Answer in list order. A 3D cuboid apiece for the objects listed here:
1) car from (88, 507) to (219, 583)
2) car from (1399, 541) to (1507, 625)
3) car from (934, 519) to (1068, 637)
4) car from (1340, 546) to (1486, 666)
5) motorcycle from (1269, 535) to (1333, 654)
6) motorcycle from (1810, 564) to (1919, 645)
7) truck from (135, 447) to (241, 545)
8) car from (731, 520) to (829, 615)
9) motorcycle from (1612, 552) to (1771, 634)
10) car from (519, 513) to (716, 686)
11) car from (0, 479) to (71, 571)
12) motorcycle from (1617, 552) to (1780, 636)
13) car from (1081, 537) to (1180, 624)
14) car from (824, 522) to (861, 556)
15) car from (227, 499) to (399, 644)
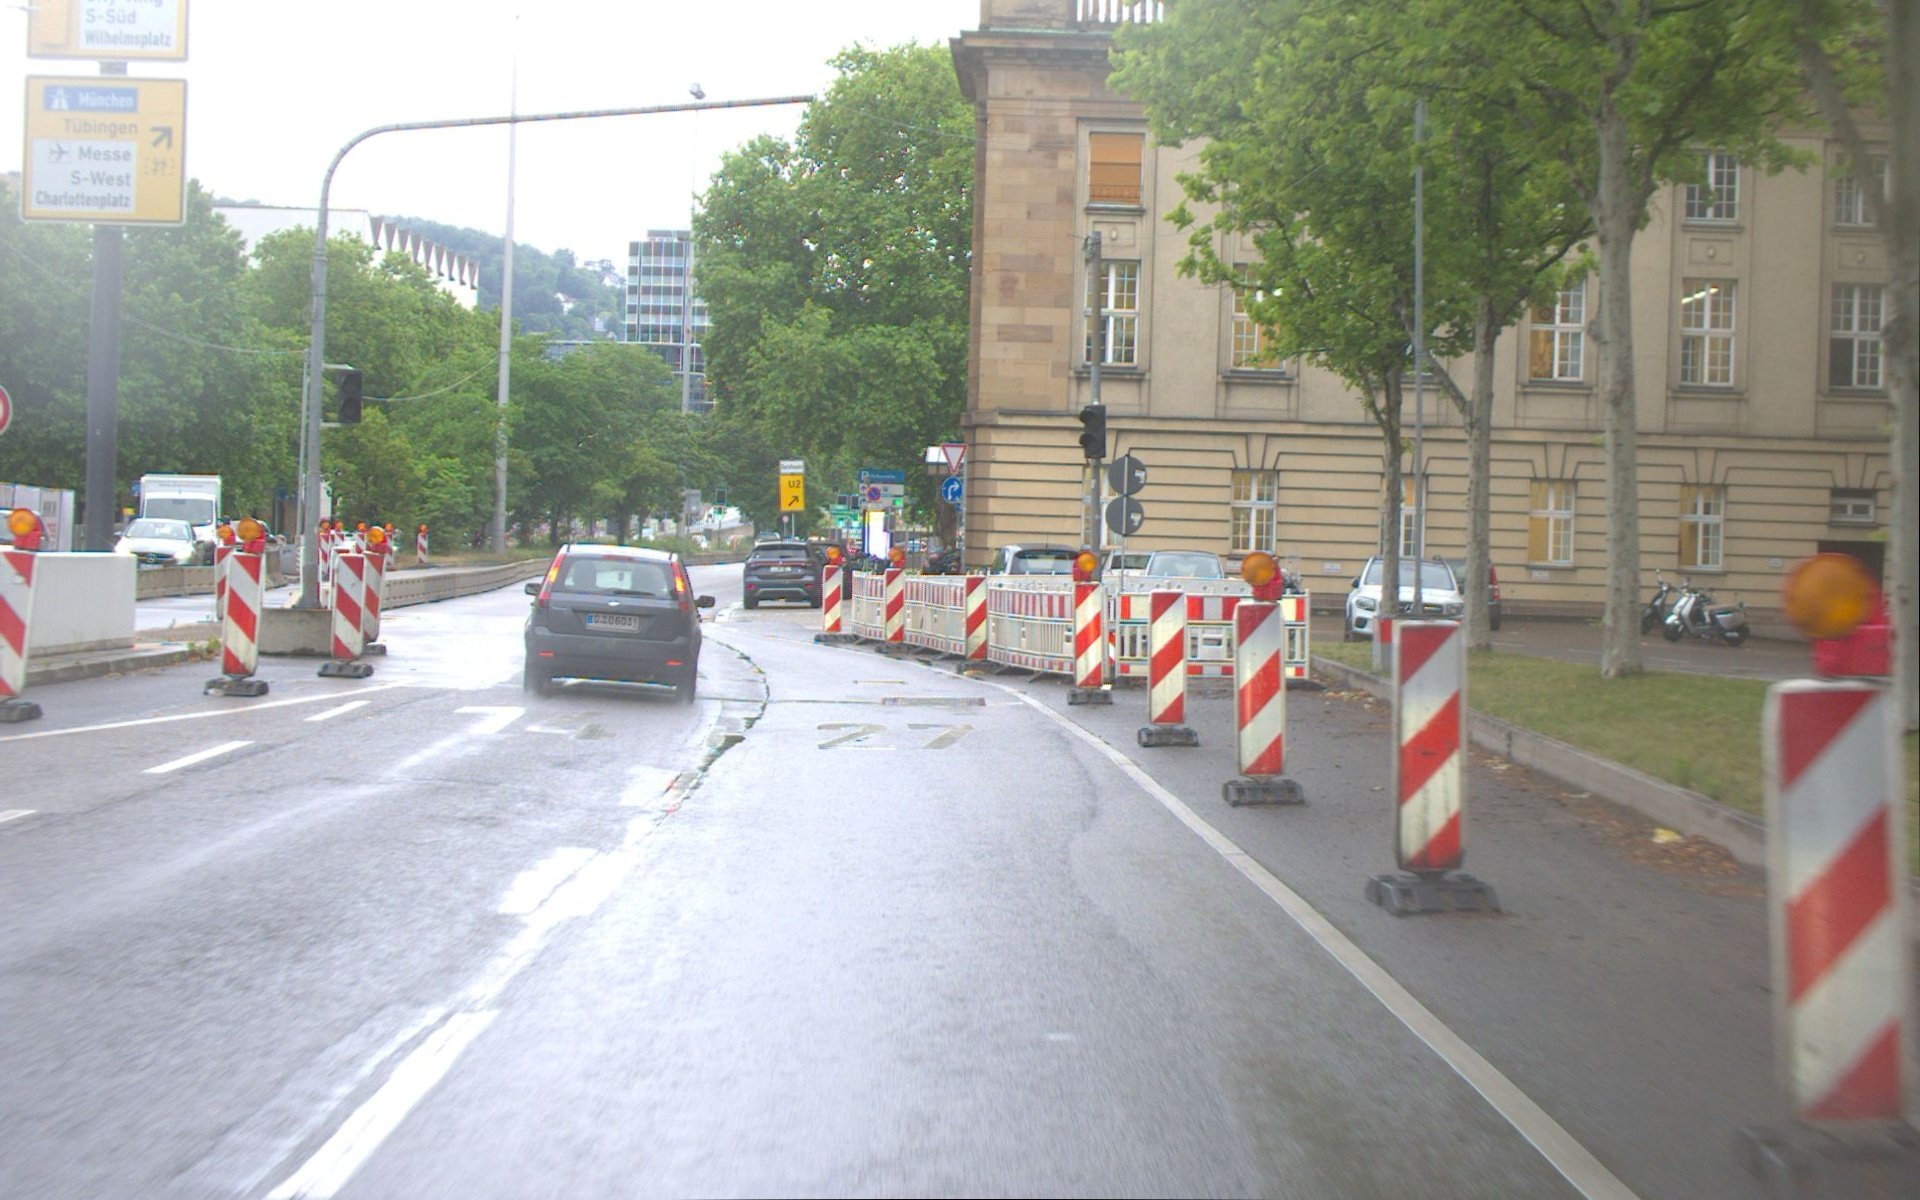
[{"bbox_3d":[-17.913,-1.200,76.522,1.993,1.474,4.000,4,-1,-2],"label":"car"},{"bbox_3d":[10.785,-0.352,75.424,1.994,1.703,3.999,3,0,4],"label":"car"},{"bbox_3d":[0.619,-0.392,55.360,1.993,1.702,4.001,3,2,-1],"label":"car"},{"bbox_3d":[7.173,0.057,54.744,1.994,1.702,4.000,3,2,4],"label":"car"},{"bbox_3d":[5.425,-0.111,54.886,0.831,1.823,3.143,2,1,3],"label":"motorcycle"},{"bbox_3d":[19.502,0.132,71.350,3.350,1.526,1.152,4,-1,2],"label":"motorcycle"},{"bbox_3d":[-20.939,-2.788,93.465,2.412,2.331,5.446,4,-1,-10],"label":"truck"},{"bbox_3d":[-4.099,-0.773,78.759,1.993,2.006,4.001,3,2,-1],"label":"car"},{"bbox_3d":[15.660,-0.148,73.662,3.162,1.538,0.889,4,-1,4],"label":"motorcycle"},{"bbox_3d":[-3.339,-0.045,33.726,1.670,1.422,3.758,6,1,-5],"label":"car"},{"bbox_3d":[-17.262,-1.366,61.536,1.668,1.517,4.000,4,-1,-2],"label":"car"},{"bbox_3d":[15.593,-0.124,72.636,3.161,1.538,0.889,4,-1,3],"label":"motorcycle"},{"bbox_3d":[3.761,-0.451,75.379,1.994,1.702,4.000,3,2,4],"label":"car"},{"bbox_3d":[-7.623,-3.935,222.851,1.993,2.007,4.001,4,-1,-5],"label":"car"},{"bbox_3d":[-6.514,-0.286,34.826,1.385,1.382,3.068,1,0,-5],"label":"car"}]
